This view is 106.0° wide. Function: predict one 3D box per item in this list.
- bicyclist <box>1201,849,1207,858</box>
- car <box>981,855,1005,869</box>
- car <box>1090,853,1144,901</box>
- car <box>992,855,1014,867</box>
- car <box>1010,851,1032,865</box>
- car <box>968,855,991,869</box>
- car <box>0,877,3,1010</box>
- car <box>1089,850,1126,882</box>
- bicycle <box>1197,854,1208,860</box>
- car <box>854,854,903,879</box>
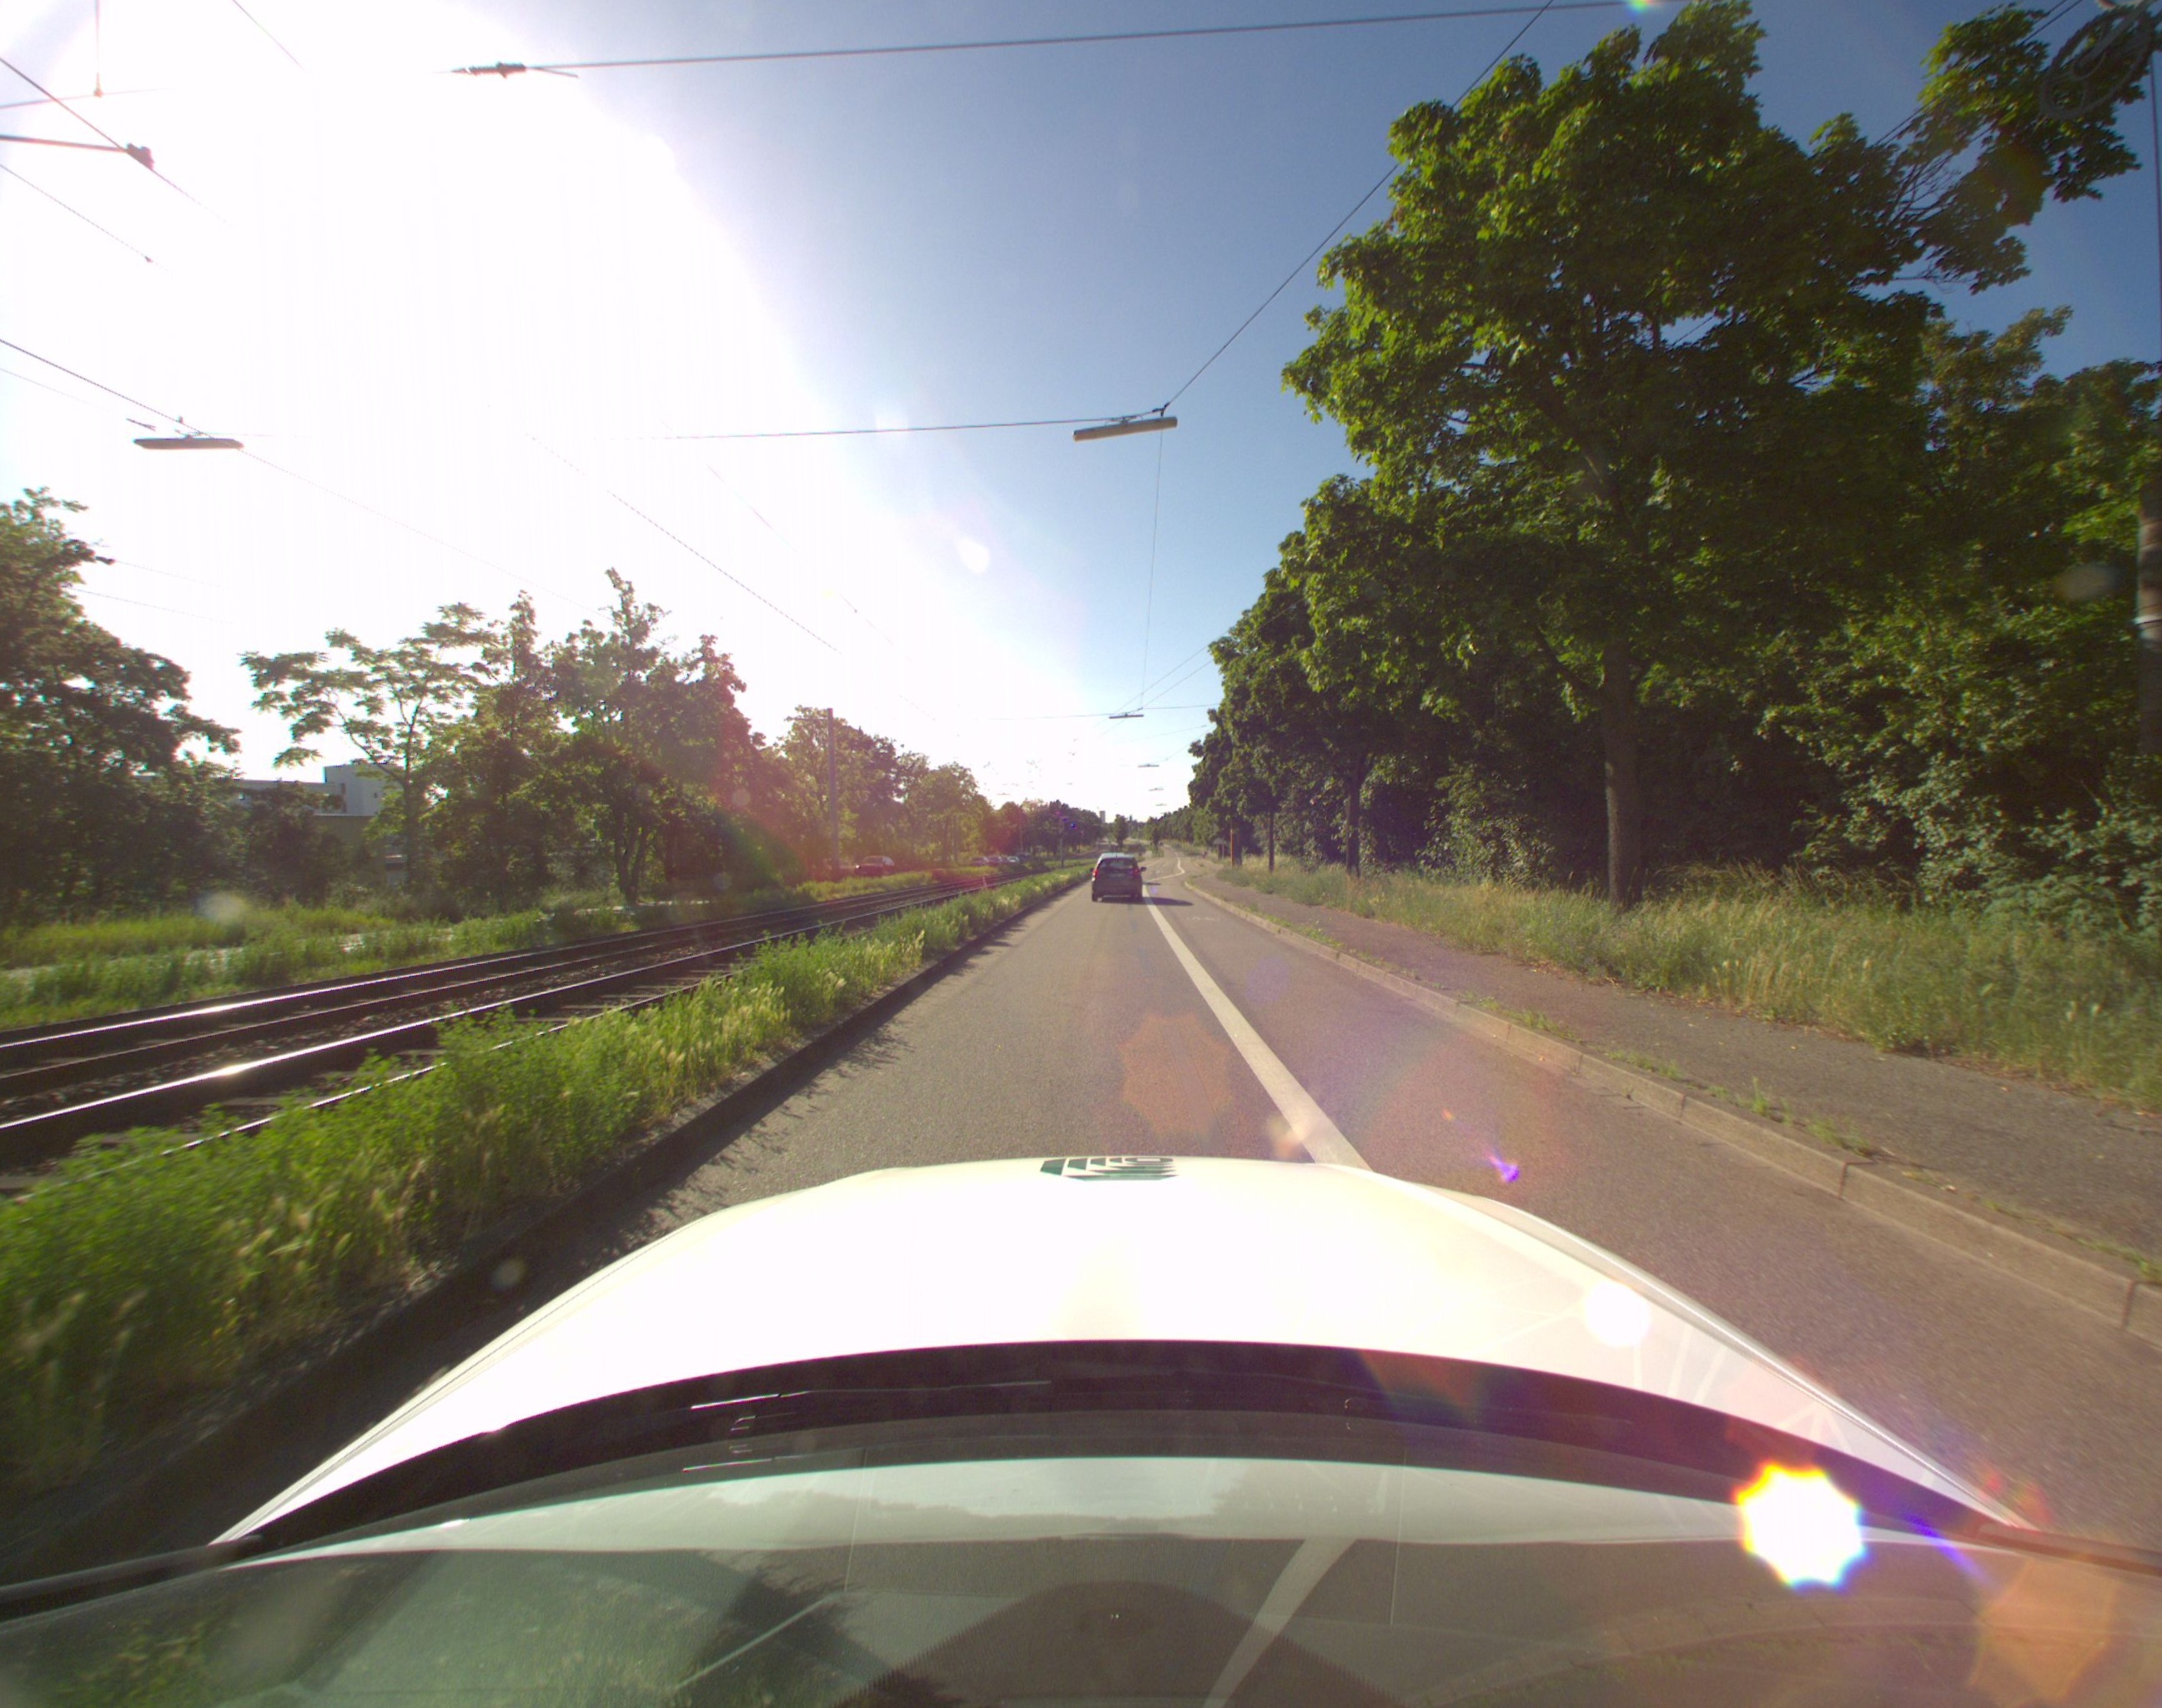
[{"bbox_3d":[22.421,-0.090,148.894,0.903,1.745,0.768,-3,-1,18],"label":"bicyclist"},{"bbox_3d":[-10.749,0.975,99.556,1.984,1.574,4.442,-1,0,5],"label":"car"},{"bbox_3d":[1.257,0.737,27.934,1.700,1.509,4.003,0,0,3],"label":"car"},{"bbox_3d":[-10.085,0.853,105.576,1.983,1.437,4.424,-1,0,7],"label":"car"},{"bbox_3d":[-8.659,0.590,117.793,2.184,1.891,4.803,-1,0,9],"label":"car"},{"bbox_3d":[-11.527,0.908,92.891,1.727,1.494,4.334,0,0,5],"label":"car"},{"bbox_3d":[-12.909,1.008,7.077,1.704,1.479,4.001,-1,0,1],"label":"car"},{"bbox_3d":[1.483,0.619,44.611,1.842,1.606,4.259,-1,0,4],"label":"car"},{"bbox_3d":[22.253,0.608,148.949,1.904,0.998,0.768,-3,-1,17],"label":"bicycle"},{"bbox_3d":[-14.626,0.837,59.021,1.994,1.702,4.474,-1,0,6],"label":"car"}]
